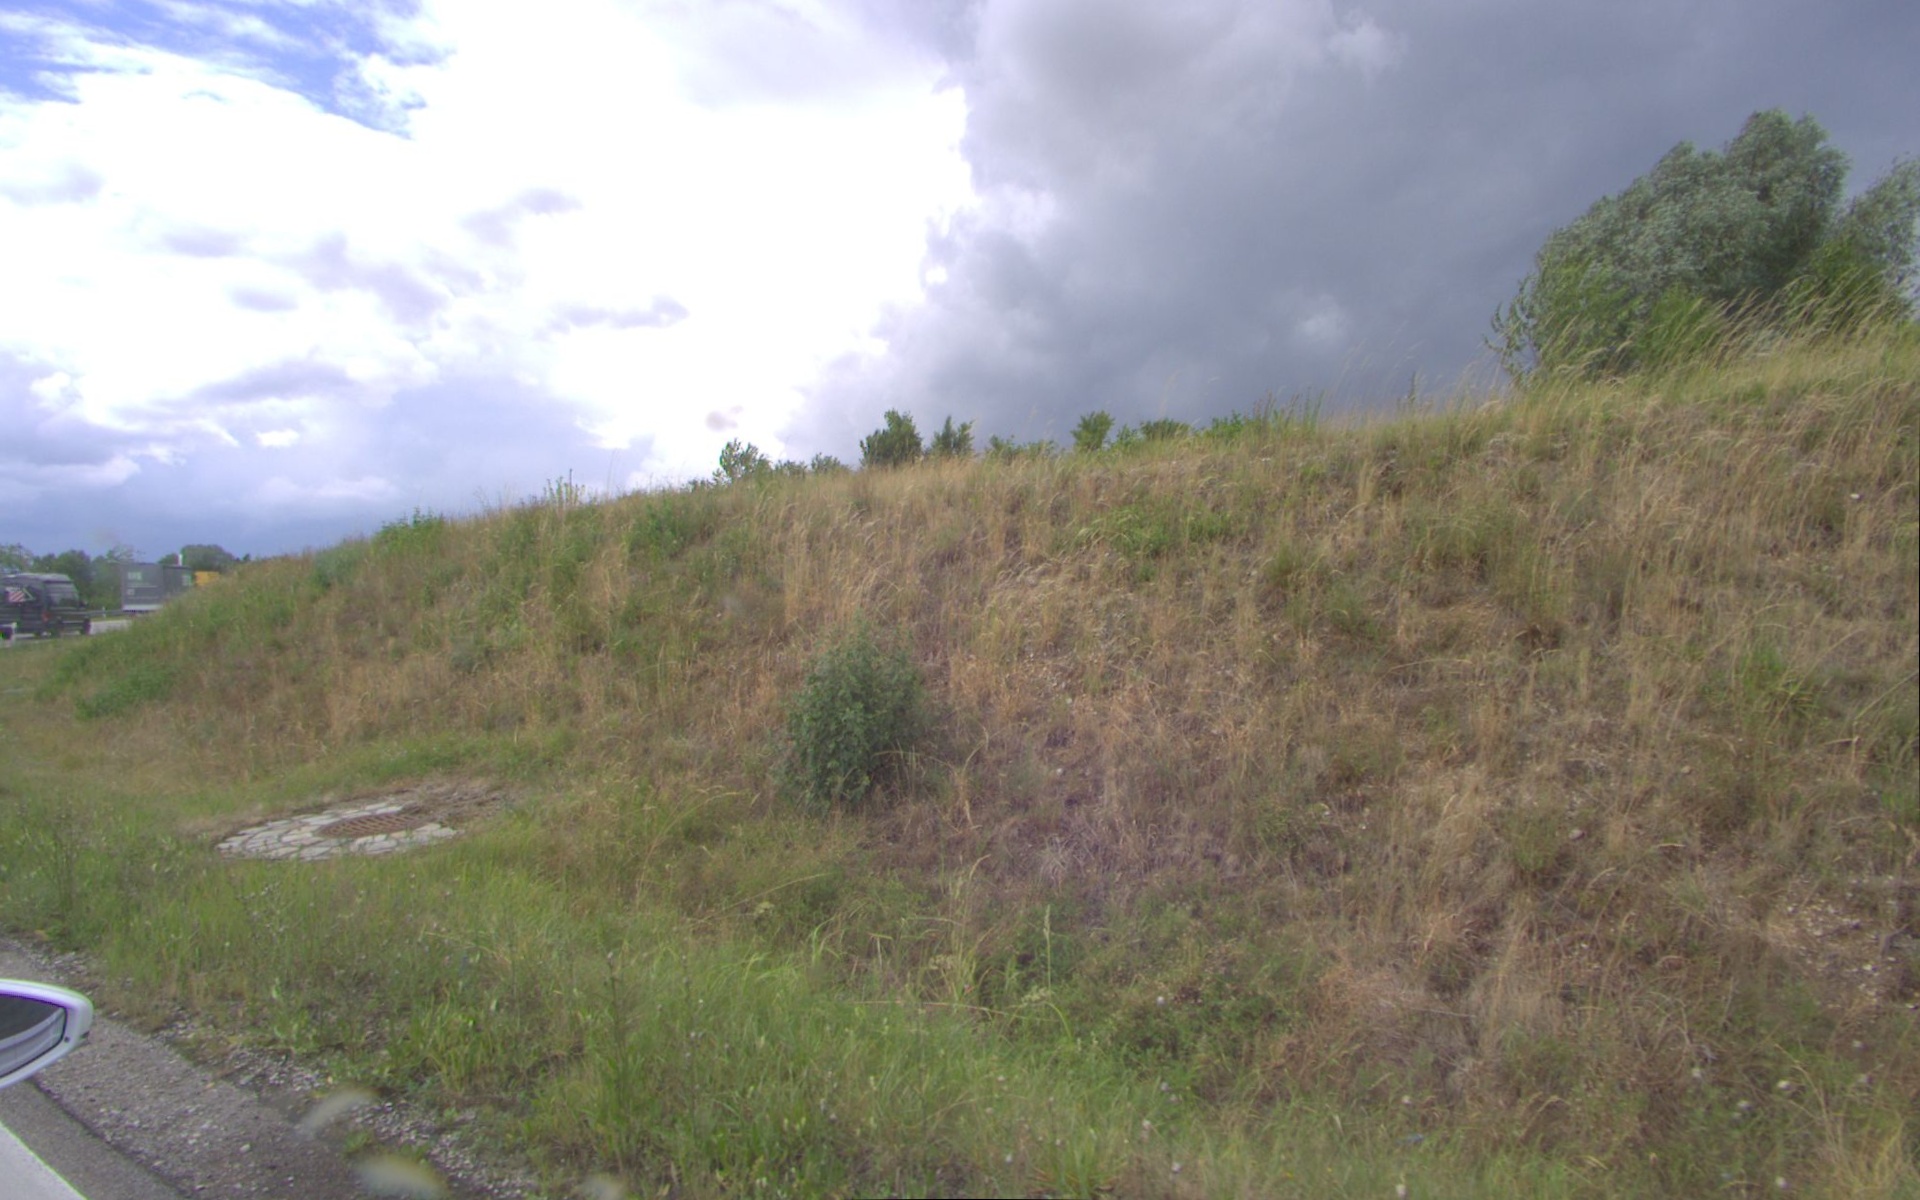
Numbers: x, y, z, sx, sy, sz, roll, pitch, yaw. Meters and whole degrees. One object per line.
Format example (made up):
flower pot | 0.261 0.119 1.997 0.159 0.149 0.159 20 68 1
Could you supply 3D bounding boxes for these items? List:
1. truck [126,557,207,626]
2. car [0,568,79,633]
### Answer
truck | -49.450 -0.430 62.577 2.198 3.956 6.003 0 -2 -21
car | -42.290 0.081 45.749 2.080 2.832 3.983 1 -1 -27
